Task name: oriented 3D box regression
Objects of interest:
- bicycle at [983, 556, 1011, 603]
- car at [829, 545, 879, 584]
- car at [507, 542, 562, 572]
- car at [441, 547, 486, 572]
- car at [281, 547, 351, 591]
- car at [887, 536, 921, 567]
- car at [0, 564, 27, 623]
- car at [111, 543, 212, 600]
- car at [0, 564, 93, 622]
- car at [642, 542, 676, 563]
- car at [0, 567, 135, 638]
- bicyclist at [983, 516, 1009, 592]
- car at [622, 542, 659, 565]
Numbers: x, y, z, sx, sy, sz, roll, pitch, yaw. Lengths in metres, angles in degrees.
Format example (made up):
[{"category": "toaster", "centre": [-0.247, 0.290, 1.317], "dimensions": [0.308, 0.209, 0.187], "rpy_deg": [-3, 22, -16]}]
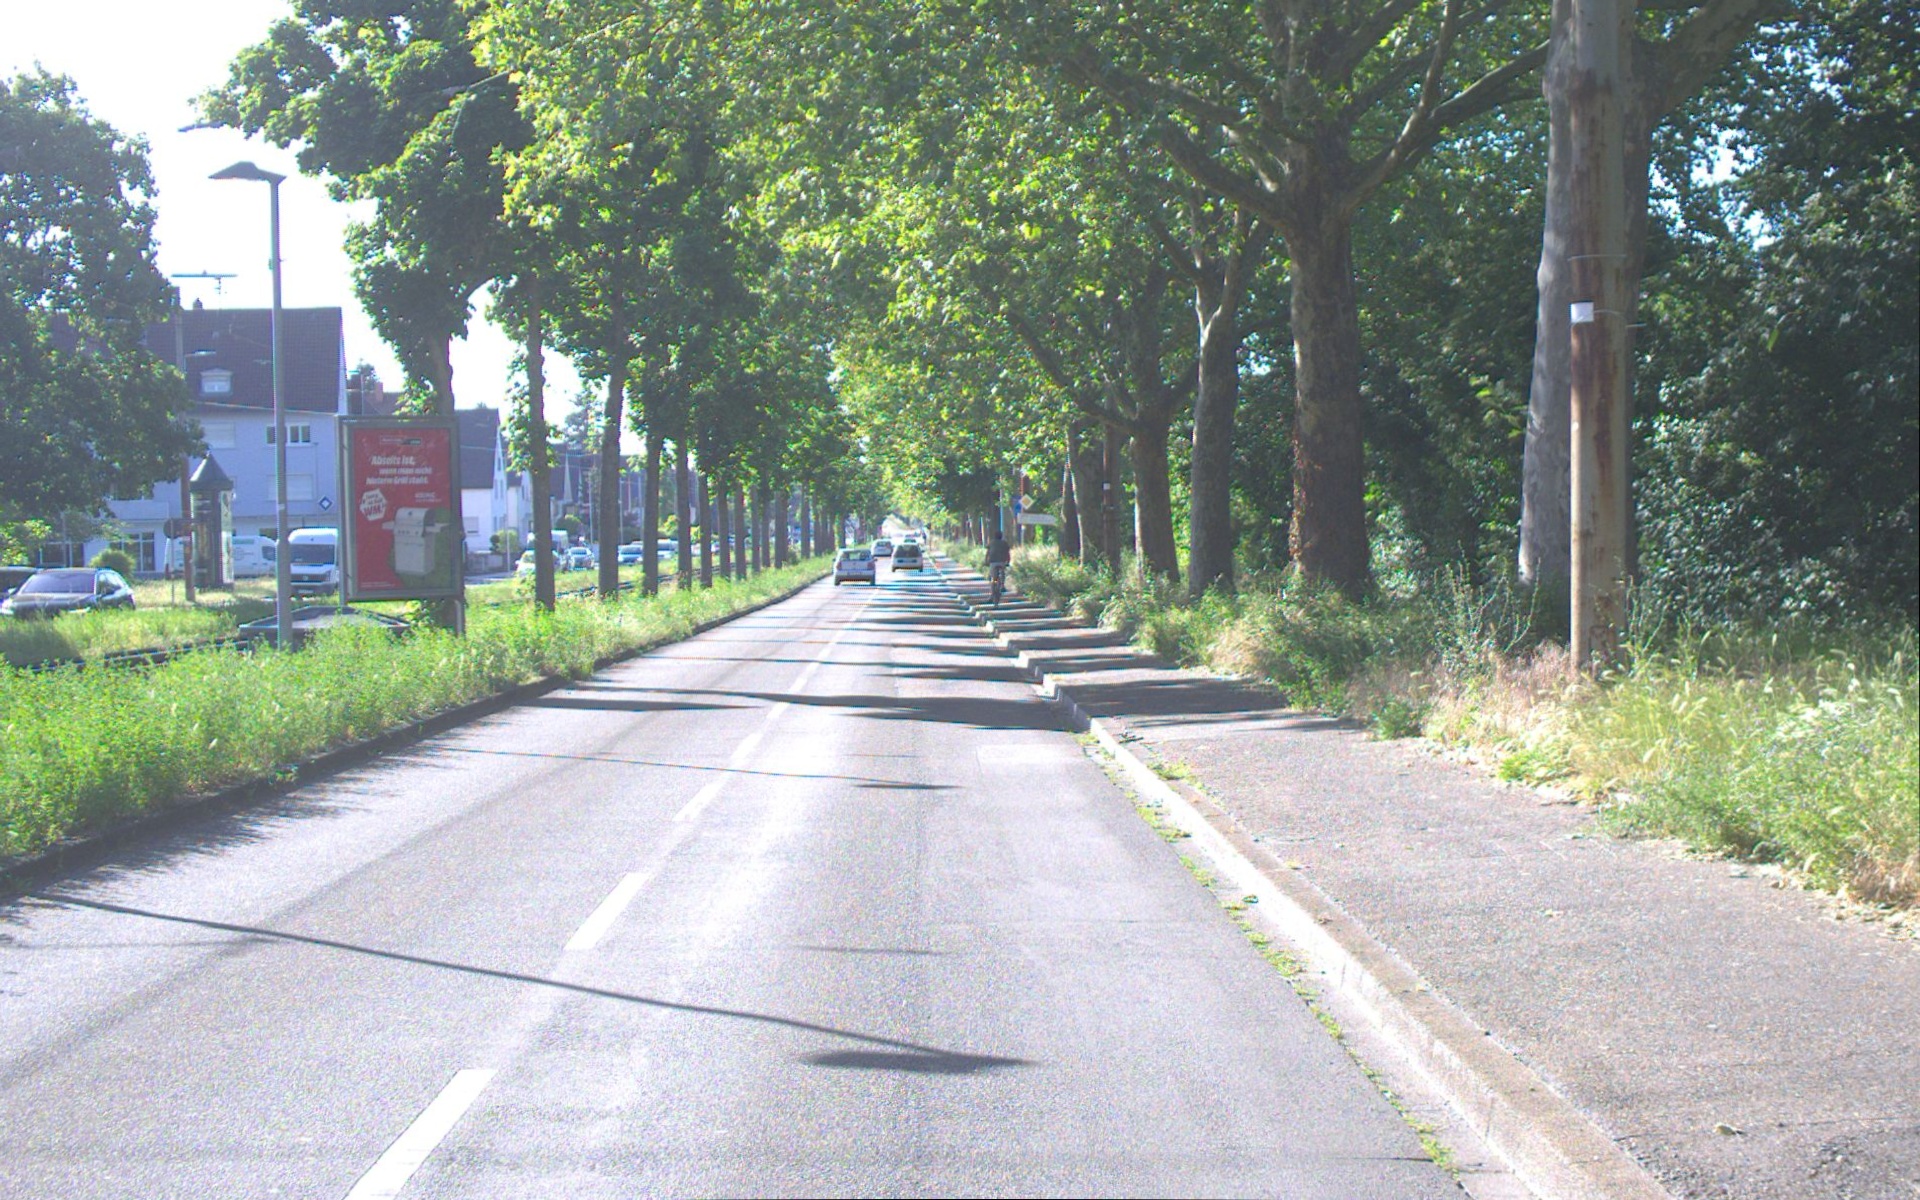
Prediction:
[{"category": "bicycle", "centre": [0.865, -0.487, 80.853], "dimensions": [0.536, 1.062, 1.434], "rpy_deg": [-2, 1, -2]}, {"category": "car", "centre": [-4.140, -1.411, 134.728], "dimensions": [1.867, 1.481, 3.555], "rpy_deg": [-1, 1, 0]}, {"category": "car", "centre": [-19.176, -1.934, 155.096], "dimensions": [1.920, 1.262, 4.000], "rpy_deg": [-2, 1, 1]}, {"category": "car", "centre": [-26.587, -2.180, 184.211], "dimensions": [1.920, 1.262, 4.000], "rpy_deg": [-2, 1, -1]}, {"category": "car", "centre": [-23.125, -1.126, 123.562], "dimensions": [1.744, 1.491, 3.592], "rpy_deg": [-2, 1, 1]}, {"category": "car", "centre": [-2.976, -2.586, 182.279], "dimensions": [1.750, 1.599, 3.750], "rpy_deg": [0, 1, 0]}, {"category": "car", "centre": [-21.978, -0.107, 75.420], "dimensions": [1.920, 1.262, 4.000], "rpy_deg": [-2, 1, 0]}, {"category": "car", "centre": [-23.253, -0.849, 100.271], "dimensions": [1.920, 1.571, 4.000], "rpy_deg": [-2, 1, 1]}, {"category": "car", "centre": [-22.039, -0.176, 81.546], "dimensions": [1.920, 1.262, 4.000], "rpy_deg": [-2, 1, 0]}, {"category": "car", "centre": [-19.886, -3.143, 227.011], "dimensions": [1.920, 1.262, 4.000], "rpy_deg": [-2, 1, -1]}, {"category": "car", "centre": [-17.723, 0.030, 67.687], "dimensions": [1.920, 1.262, 4.000], "rpy_deg": [-2, 1, 1]}, {"category": "bicyclist", "centre": [0.848, -1.082, 80.907], "dimensions": [0.534, 1.763, 0.713], "rpy_deg": [-2, 1, -2]}, {"category": "car", "centre": [-19.207, -2.804, 206.646], "dimensions": [1.920, 1.262, 4.000], "rpy_deg": [-2, 1, -1]}]
